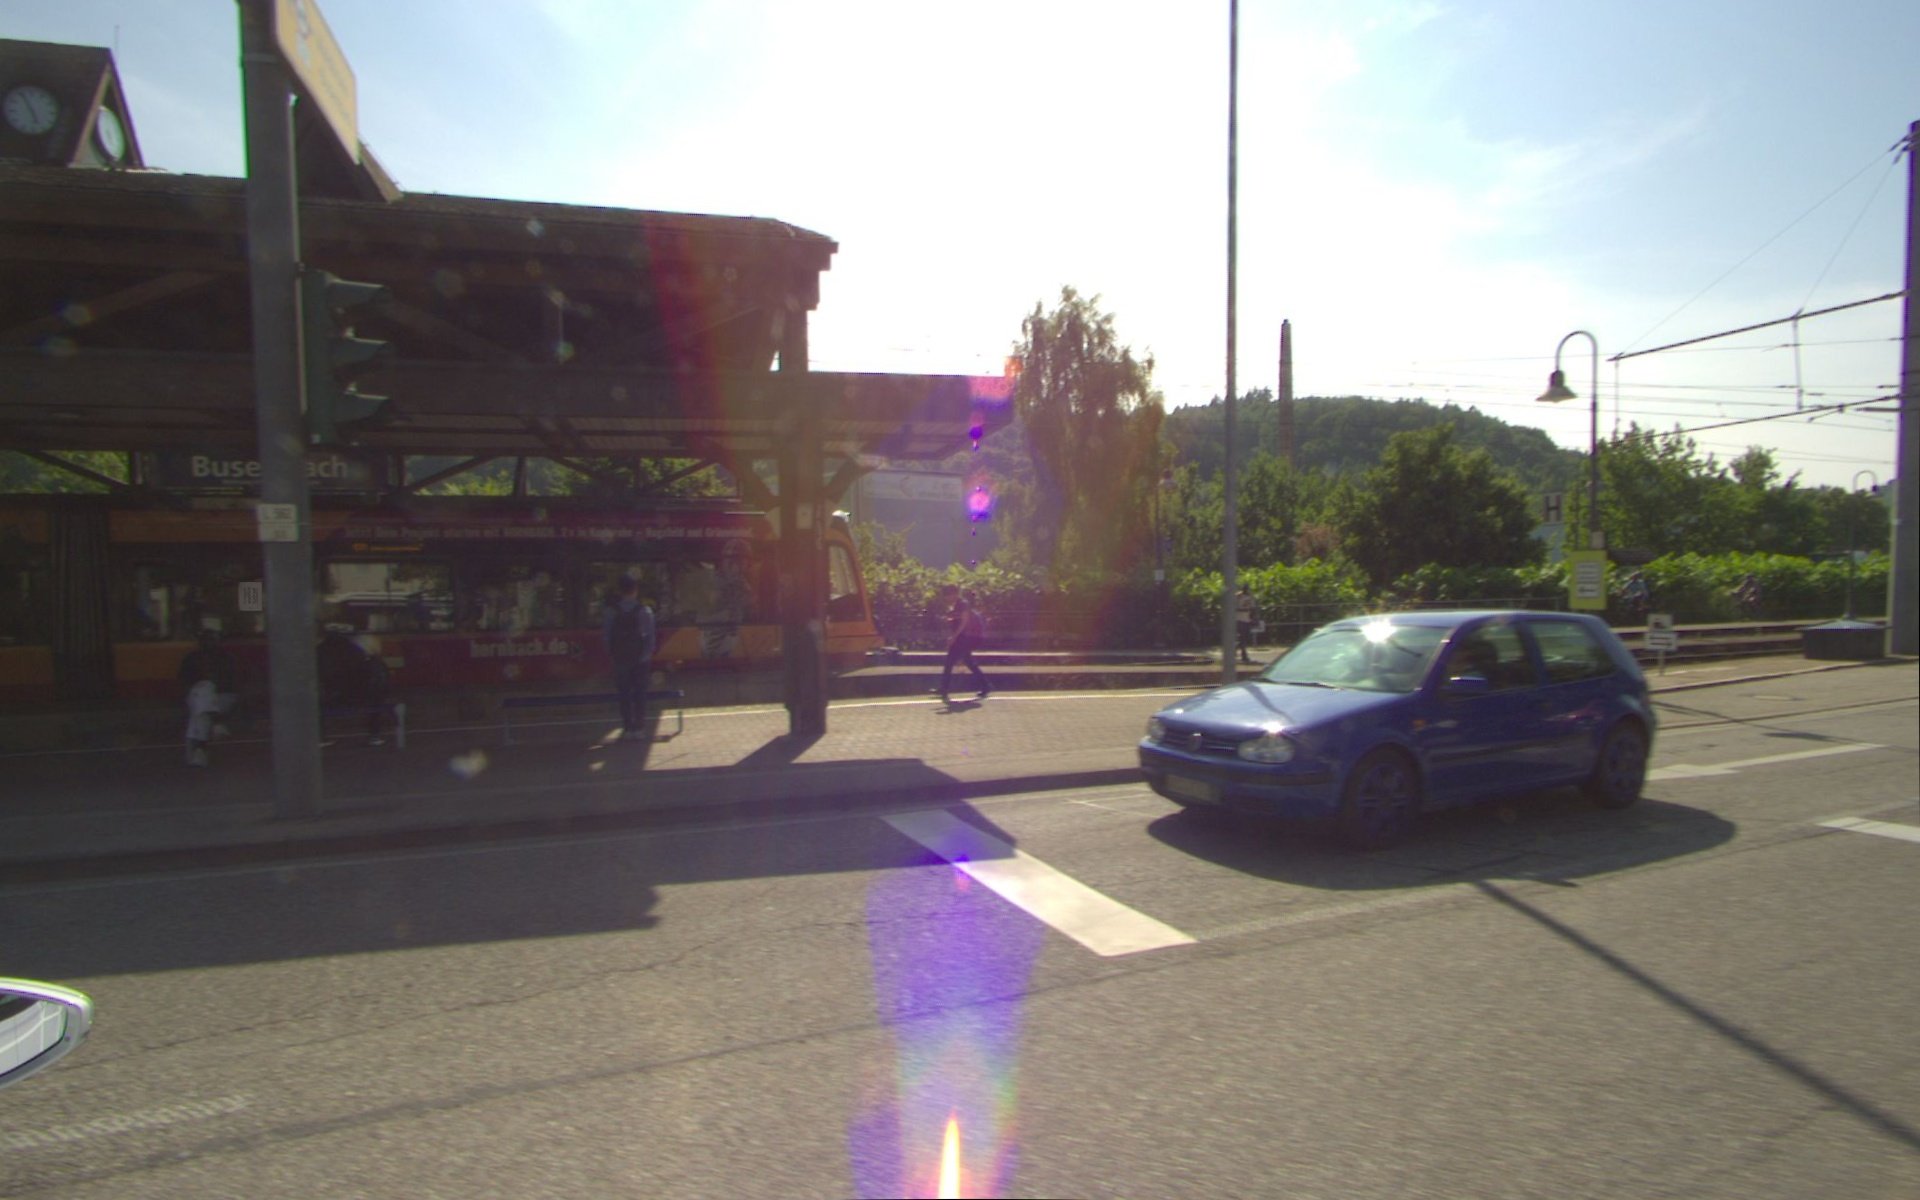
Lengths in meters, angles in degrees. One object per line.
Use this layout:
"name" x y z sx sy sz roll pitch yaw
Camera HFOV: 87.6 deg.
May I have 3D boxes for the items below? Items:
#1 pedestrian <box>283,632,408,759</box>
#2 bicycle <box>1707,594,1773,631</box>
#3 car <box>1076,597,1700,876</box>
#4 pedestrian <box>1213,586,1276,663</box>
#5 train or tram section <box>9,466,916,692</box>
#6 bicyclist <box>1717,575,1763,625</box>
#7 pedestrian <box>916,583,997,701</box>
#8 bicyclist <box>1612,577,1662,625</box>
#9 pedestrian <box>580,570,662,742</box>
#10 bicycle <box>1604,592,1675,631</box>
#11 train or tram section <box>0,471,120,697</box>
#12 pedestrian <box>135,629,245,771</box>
"pedestrian" -6.166 0.923 10.114 0.934 1.175 1.006 -1 0 -25
"bicycle" 28.377 0.476 36.429 2.257 1.270 0.871 1 -2 -22
"car" 3.121 0.742 7.200 4.236 1.502 1.858 0 0 -27
"pedestrian" 6.734 0.607 23.781 0.900 1.758 1.250 1 -3 -16
"train or tram section" -8.013 -0.333 18.563 14.099 3.408 2.860 0 -1 -17
"bicyclist" 28.406 0.012 36.455 0.851 1.748 1.008 1 -2 -21
"pedestrian" -0.066 0.573 13.874 0.906 1.567 0.862 1 0 -17
"bicyclist" 22.942 0.062 33.949 1.024 1.573 1.008 1 -2 -21
"pedestrian" -3.542 0.562 10.446 0.727 1.714 0.656 -1 1 -25
"bicycle" 23.083 0.418 33.997 2.257 1.270 0.871 1 -2 -22
"train or tram section" -20.329 -0.100 14.929 11.830 3.407 2.793 -1 -2 -15
"pedestrian" -7.191 0.907 9.396 0.587 1.251 0.991 1 -2 -24
